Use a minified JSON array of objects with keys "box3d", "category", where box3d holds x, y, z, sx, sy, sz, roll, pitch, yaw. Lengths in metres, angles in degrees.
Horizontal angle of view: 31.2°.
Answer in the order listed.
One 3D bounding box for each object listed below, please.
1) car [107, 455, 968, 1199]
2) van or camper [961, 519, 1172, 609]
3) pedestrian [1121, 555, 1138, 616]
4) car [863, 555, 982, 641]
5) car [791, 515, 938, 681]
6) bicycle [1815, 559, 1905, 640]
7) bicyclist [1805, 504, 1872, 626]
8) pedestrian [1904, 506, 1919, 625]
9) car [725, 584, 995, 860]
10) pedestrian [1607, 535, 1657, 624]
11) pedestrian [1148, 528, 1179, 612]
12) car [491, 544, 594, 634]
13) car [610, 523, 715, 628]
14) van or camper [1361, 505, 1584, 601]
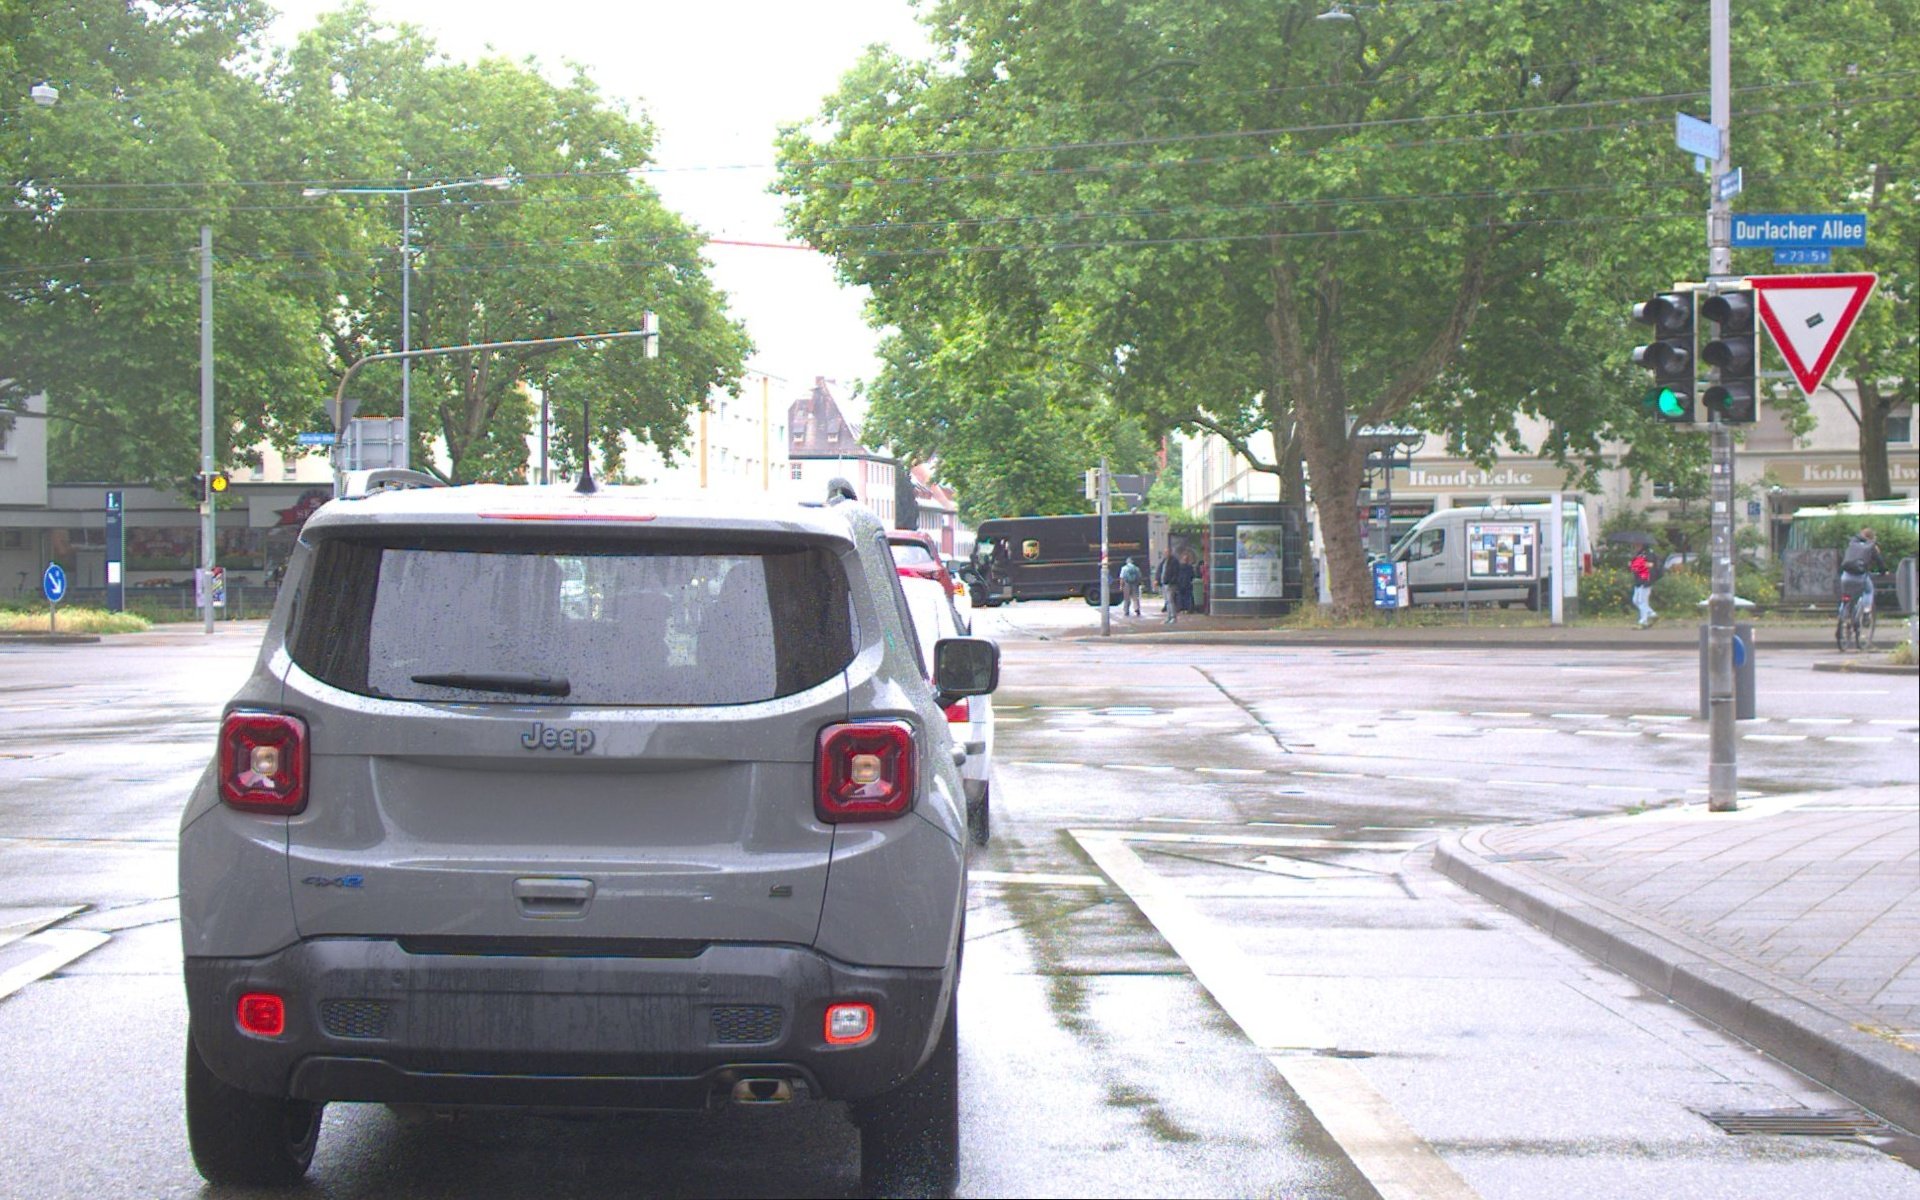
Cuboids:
[{"box3d":[-0.928,0.525,9.187,1.775,1.681,3.848,-1,1,-1],"category":"car"},{"box3d":[3.542,-1.179,114.612,6.536,2.902,2.491,0,1,27],"category":"van or camper"},{"box3d":[4.711,-0.396,95.593,0.458,1.698,0.424,0,1,1],"category":"pedestrian"},{"box3d":[-0.605,-0.058,52.458,1.592,1.247,3.575,-1,1,-4],"category":"car"},{"box3d":[-1.178,-0.053,43.779,1.770,2.007,4.000,-1,1,-1],"category":"car"},{"box3d":[12.139,-0.017,46.303,0.692,1.018,2.654,-1,1,25],"category":"bicycle"},{"box3d":[11.819,-0.478,46.250,0.688,1.612,0.882,-1,1,25],"category":"bicyclist"},{"box3d":[16.486,-0.594,58.276,0.806,2.007,0.589,0,1,27],"category":"pedestrian"},{"box3d":[-0.522,0.614,19.174,1.363,1.371,3.312,-1,1,0],"category":"car"},{"box3d":[11.802,-0.362,60.399,0.674,1.548,0.760,0,-1,28],"category":"pedestrian"},{"box3d":[4.893,-0.728,82.725,0.651,2.007,0.482,0,1,12],"category":"pedestrian"},{"box3d":[-8.020,-0.226,66.280,1.814,1.665,3.921,-1,1,-5],"category":"car"},{"box3d":[-5.062,-0.437,58.925,1.721,1.733,3.730,0,1,-4],"category":"car"},{"box3d":[12.598,-1.165,84.753,5.260,2.307,2.090,0,1,4],"category":"van or camper"}]
